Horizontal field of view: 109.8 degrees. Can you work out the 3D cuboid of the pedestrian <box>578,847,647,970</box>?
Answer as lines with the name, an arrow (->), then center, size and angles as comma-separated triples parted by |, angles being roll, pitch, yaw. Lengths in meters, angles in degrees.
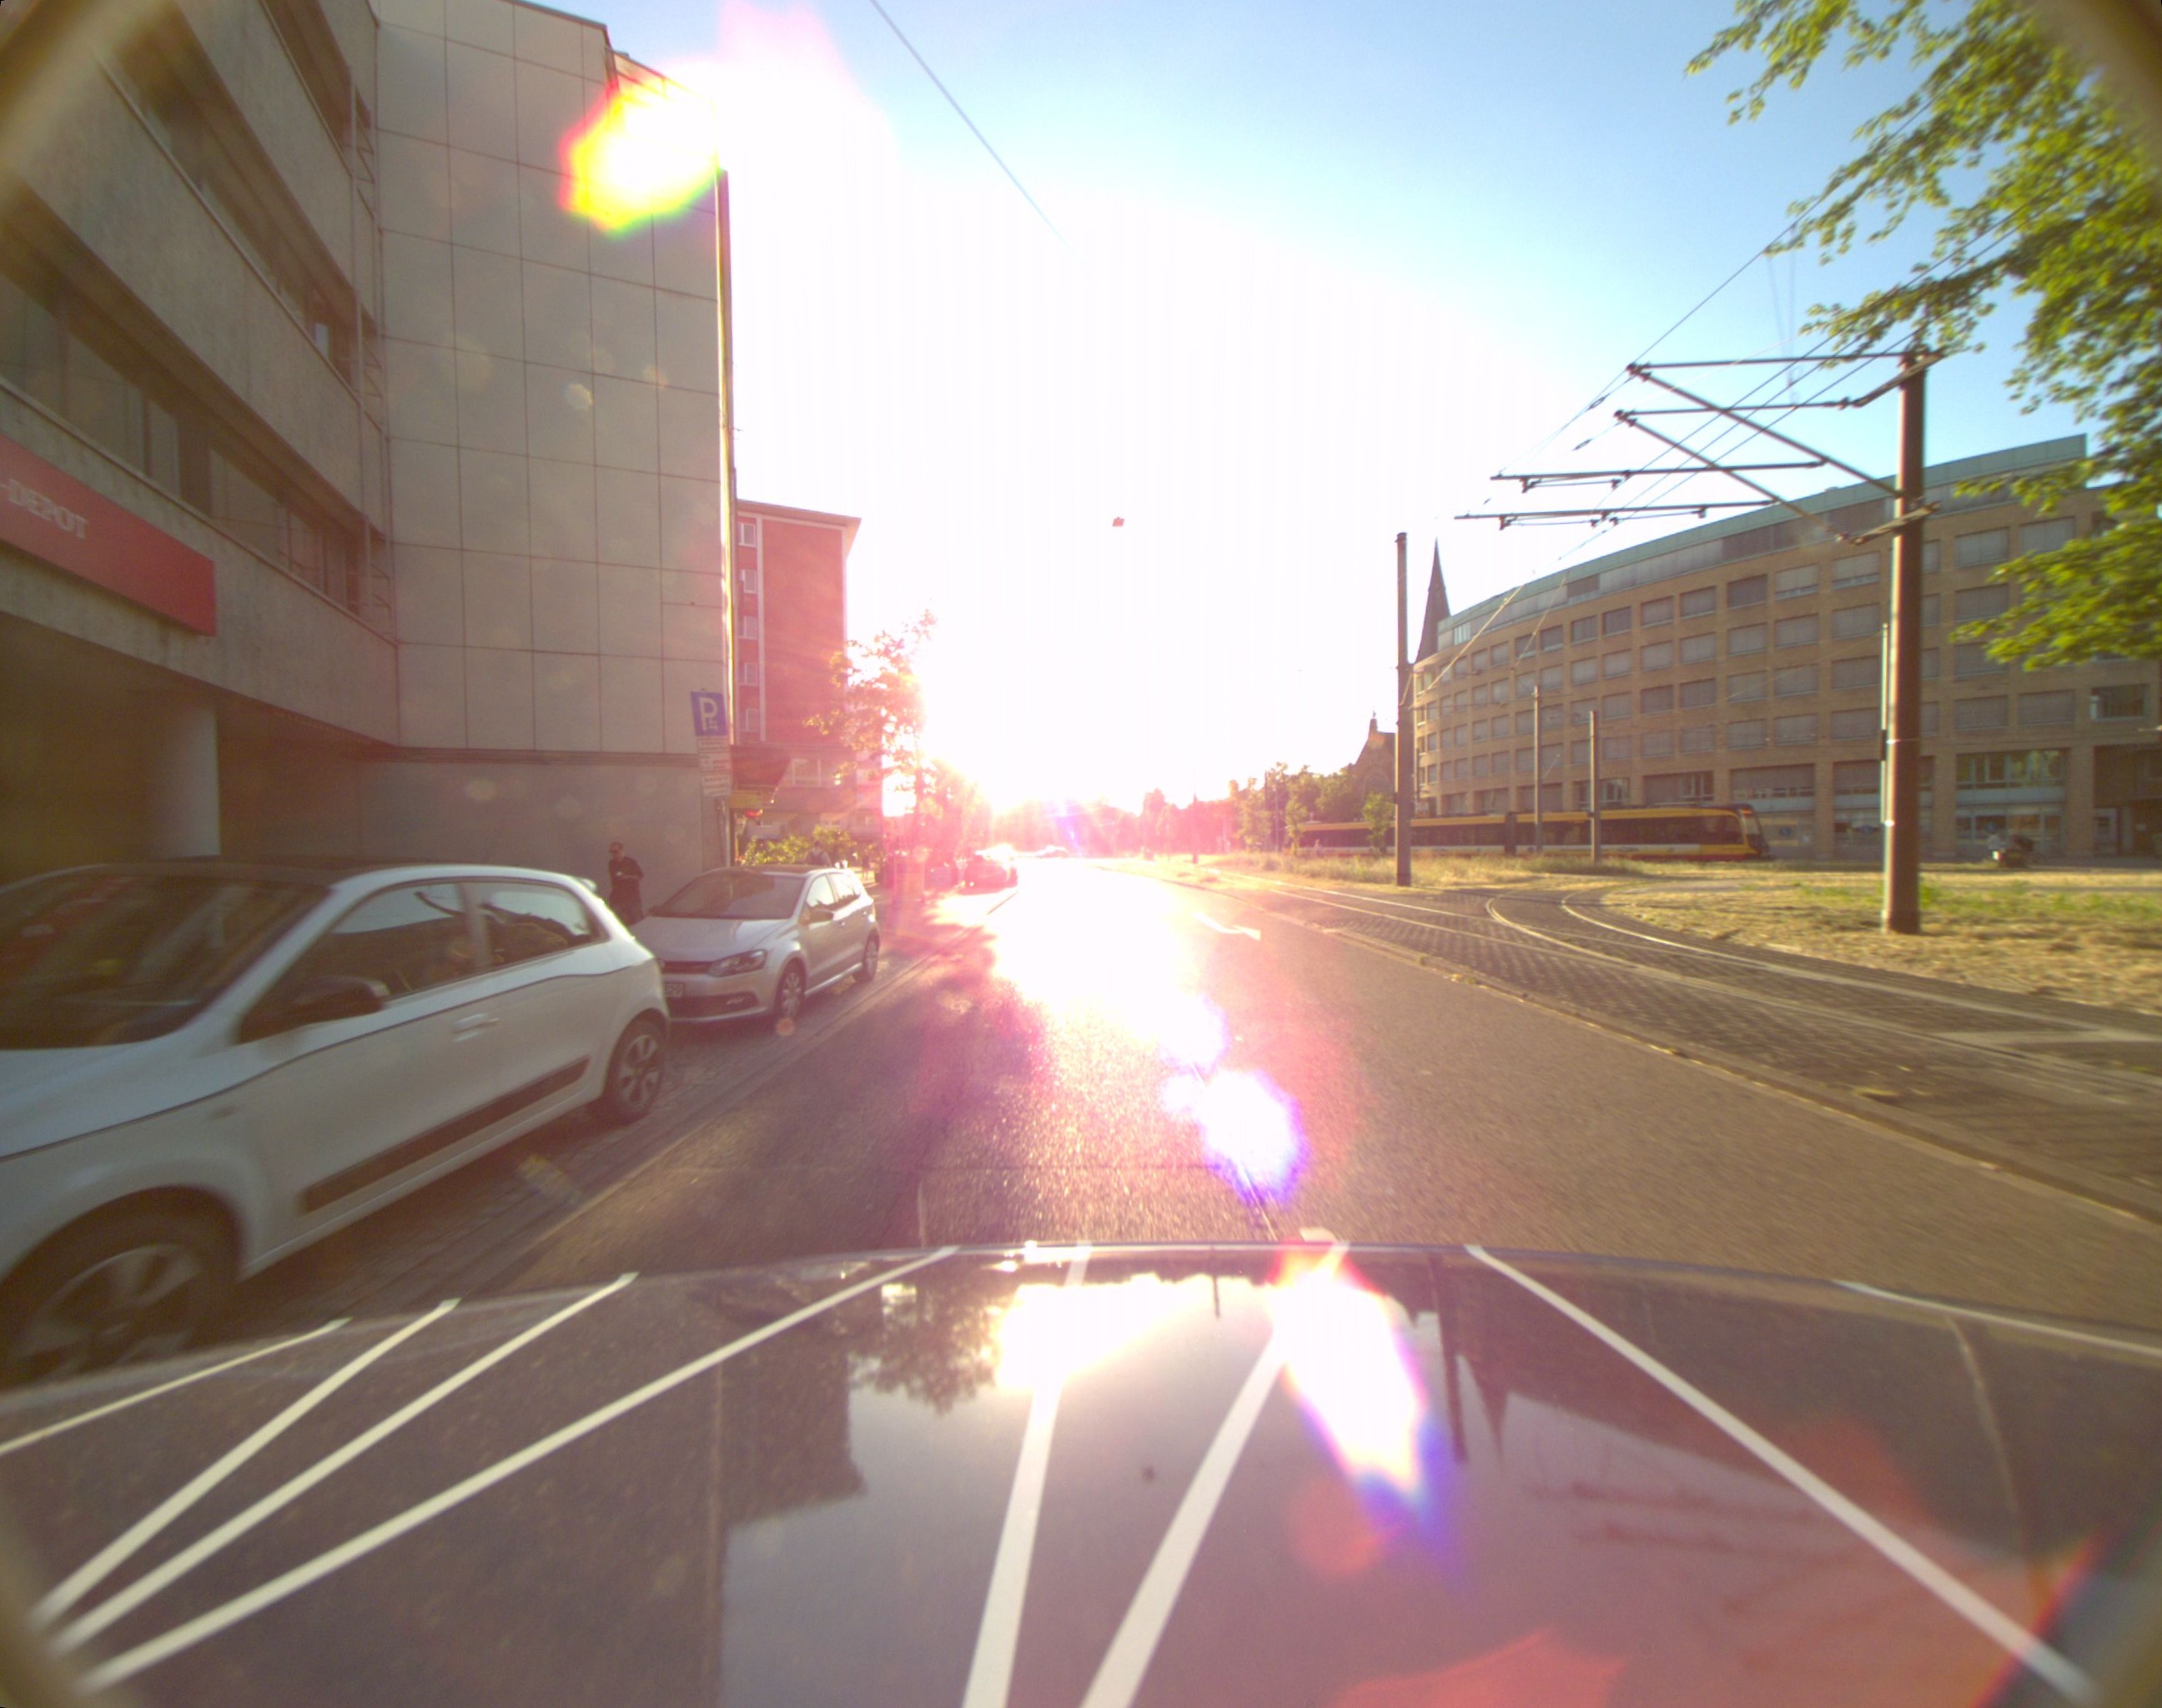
pedestrian -> -6.538, 0.723, 10.641 | 0.641, 1.618, 0.855 | -3, 1, -23

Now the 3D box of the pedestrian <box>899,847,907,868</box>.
pedestrian -> -14.451, 0.249, 61.776 | 0.519, 1.683, 0.771 | -2, 1, -19

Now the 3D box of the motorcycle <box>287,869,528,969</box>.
motorcycle -> -8.661, 0.807, 9.874 | 2.283, 1.183, 0.704 | -1, 1, -10

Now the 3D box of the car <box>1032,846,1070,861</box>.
car -> -3.446, -0.046, 87.942 | 3.992, 1.534, 2.002 | -2, 1, 15

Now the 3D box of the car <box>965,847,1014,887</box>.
car -> -3.915, 0.515, 33.015 | 1.655, 1.526, 4.065 | -2, 1, -1

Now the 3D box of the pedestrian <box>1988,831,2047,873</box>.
pedestrian -> 48.149, -0.087, 39.080 | 1.060, 2.082, 1.631 | -2, 1, -19

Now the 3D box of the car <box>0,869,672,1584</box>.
car -> -3.386, 0.938, 2.965 | 1.589, 1.581, 3.667 | -2, 1, -1

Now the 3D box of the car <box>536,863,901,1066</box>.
car -> -3.334, 0.907, 7.992 | 1.789, 1.448, 3.999 | -1, 1, 2

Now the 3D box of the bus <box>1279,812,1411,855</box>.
bus -> 23.181, -1.686, 67.947 | 3.765, 3.436, 12.107 | -2, 1, -24

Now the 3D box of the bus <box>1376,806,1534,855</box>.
bus -> 27.914, -1.641, 57.504 | 3.765, 3.312, 10.714 | -2, 1, -24

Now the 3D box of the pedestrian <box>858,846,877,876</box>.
pedestrian -> -12.454, 0.380, 44.277 | 0.895, 1.716, 0.772 | -1, 0, -31

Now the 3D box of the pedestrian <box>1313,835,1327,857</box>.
pedestrian -> 15.947, -0.526, 50.739 | 0.672, 1.451, 0.699 | -2, 1, -4

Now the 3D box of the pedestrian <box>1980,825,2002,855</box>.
pedestrian -> 52.134, -0.803, 43.530 | 0.532, 1.683, 0.617 | -2, 1, -17

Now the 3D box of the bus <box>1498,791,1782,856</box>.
bus -> 33.258, -1.657, 46.508 | 3.766, 3.343, 13.682 | -3, 1, -27

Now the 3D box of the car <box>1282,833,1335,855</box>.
car -> 31.990, -1.390, 106.833 | 7.209, 2.861, 2.304 | -1, 1, -22

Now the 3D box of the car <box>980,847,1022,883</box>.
car -> -3.944, 0.508, 38.252 | 1.809, 1.660, 4.811 | -2, 1, -3

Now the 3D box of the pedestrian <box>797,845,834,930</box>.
pedestrian -> -5.796, 0.708, 16.574 | 0.641, 1.776, 0.855 | -3, 1, -23

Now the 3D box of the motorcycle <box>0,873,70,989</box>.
motorcycle -> -13.084, 0.888, 9.019 | 1.793, 1.286, 0.670 | 0, 1, 16
